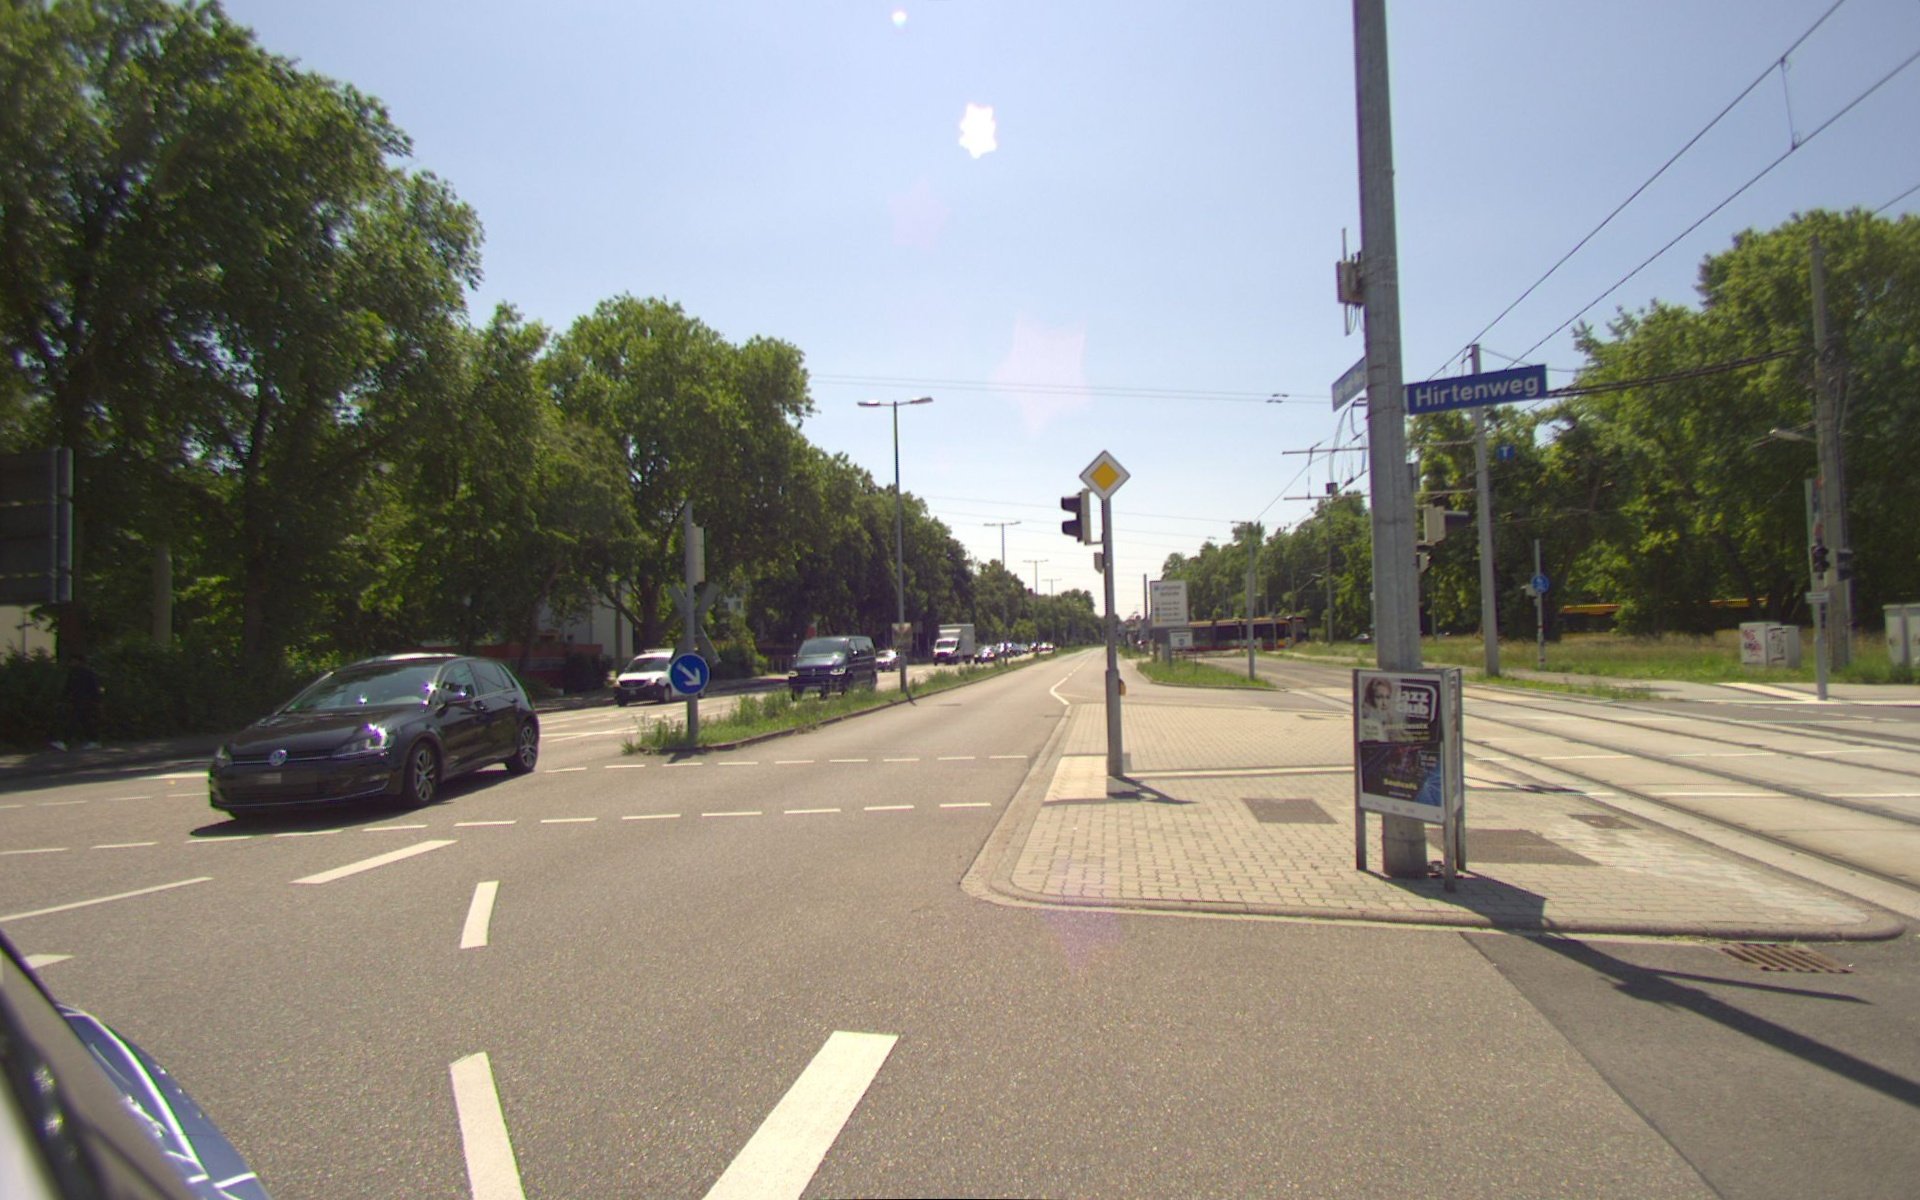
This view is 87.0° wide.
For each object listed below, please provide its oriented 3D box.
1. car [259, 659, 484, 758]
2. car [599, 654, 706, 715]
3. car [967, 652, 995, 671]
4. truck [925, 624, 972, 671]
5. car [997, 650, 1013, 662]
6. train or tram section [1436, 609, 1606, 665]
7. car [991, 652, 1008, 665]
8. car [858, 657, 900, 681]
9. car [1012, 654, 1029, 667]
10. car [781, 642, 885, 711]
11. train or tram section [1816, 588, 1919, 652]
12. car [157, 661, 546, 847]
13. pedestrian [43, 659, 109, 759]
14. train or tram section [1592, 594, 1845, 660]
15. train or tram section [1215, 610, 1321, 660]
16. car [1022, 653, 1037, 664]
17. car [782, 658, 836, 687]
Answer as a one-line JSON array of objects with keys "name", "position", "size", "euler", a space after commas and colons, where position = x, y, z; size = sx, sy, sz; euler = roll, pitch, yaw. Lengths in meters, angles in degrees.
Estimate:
[{"name": "car", "position": [-12.137, 2.180, 21.258], "size": [1.790, 1.731, 4.332], "euler": [-3, -3, 8]}, {"name": "car", "position": [-10.547, 2.862, 35.042], "size": [1.874, 1.806, 4.383], "euler": [-5, -3, 7]}, {"name": "car", "position": [1.652, 4.695, 77.427], "size": [1.726, 1.296, 3.992], "euler": [-5, -3, 6]}, {"name": "truck", "position": [-0.883, 3.961, 85.119], "size": [2.559, 3.560, 7.691], "euler": [-5, -3, 8]}, {"name": "car", "position": [5.352, 6.611, 120.115], "size": [1.585, 1.296, 3.638], "euler": [-5, -3, 6]}, {"name": "train or tram section", "position": [45.146, 3.094, 81.797], "size": [11.428, 3.788, 2.986], "euler": [-6, -5, 39]}, {"name": "car", "position": [4.402, 6.511, 112.087], "size": [1.585, 1.296, 3.638], "euler": [-5, -3, 6]}, {"name": "car", "position": [-5.416, 4.607, 68.253], "size": [1.828, 1.436, 4.203], "euler": [-3, -3, 8]}, {"name": "car", "position": [8.817, 8.848, 148.326], "size": [1.978, 1.745, 3.988], "euler": [-5, -3, 9]}, {"name": "car", "position": [-3.898, 2.345, 31.987], "size": [1.921, 1.946, 4.831], "euler": [-2, -3, 10]}, {"name": "train or tram section", "position": [62.258, 0.968, 62.398], "size": [2.973, 3.788, 14.238], "euler": [-1, -4, -26]}, {"name": "car", "position": [-5.947, 1.412, 10.532], "size": [1.685, 1.415, 4.054], "euler": [-3, -3, -2]}, {"name": "pedestrian", "position": [-16.708, 2.046, 19.139], "size": [0.600, 1.849, 0.677], "euler": [-1, -3, 6]}, {"name": "train or tram section", "position": [54.479, 2.101, 73.350], "size": [2.981, 3.788, 14.200], "euler": [1, -6, -45]}, {"name": "train or tram section", "position": [30.857, 3.687, 102.378], "size": [2.974, 4.288, 12.789], "euler": [-1, -4, -20]}, {"name": "car", "position": [12.151, 10.199, 176.526], "size": [1.980, 1.745, 3.984], "euler": [-5, -3, 12]}, {"name": "car", "position": [-8.404, 4.040, 56.678], "size": [1.827, 1.436, 4.204], "euler": [-3, -3, 8]}]
